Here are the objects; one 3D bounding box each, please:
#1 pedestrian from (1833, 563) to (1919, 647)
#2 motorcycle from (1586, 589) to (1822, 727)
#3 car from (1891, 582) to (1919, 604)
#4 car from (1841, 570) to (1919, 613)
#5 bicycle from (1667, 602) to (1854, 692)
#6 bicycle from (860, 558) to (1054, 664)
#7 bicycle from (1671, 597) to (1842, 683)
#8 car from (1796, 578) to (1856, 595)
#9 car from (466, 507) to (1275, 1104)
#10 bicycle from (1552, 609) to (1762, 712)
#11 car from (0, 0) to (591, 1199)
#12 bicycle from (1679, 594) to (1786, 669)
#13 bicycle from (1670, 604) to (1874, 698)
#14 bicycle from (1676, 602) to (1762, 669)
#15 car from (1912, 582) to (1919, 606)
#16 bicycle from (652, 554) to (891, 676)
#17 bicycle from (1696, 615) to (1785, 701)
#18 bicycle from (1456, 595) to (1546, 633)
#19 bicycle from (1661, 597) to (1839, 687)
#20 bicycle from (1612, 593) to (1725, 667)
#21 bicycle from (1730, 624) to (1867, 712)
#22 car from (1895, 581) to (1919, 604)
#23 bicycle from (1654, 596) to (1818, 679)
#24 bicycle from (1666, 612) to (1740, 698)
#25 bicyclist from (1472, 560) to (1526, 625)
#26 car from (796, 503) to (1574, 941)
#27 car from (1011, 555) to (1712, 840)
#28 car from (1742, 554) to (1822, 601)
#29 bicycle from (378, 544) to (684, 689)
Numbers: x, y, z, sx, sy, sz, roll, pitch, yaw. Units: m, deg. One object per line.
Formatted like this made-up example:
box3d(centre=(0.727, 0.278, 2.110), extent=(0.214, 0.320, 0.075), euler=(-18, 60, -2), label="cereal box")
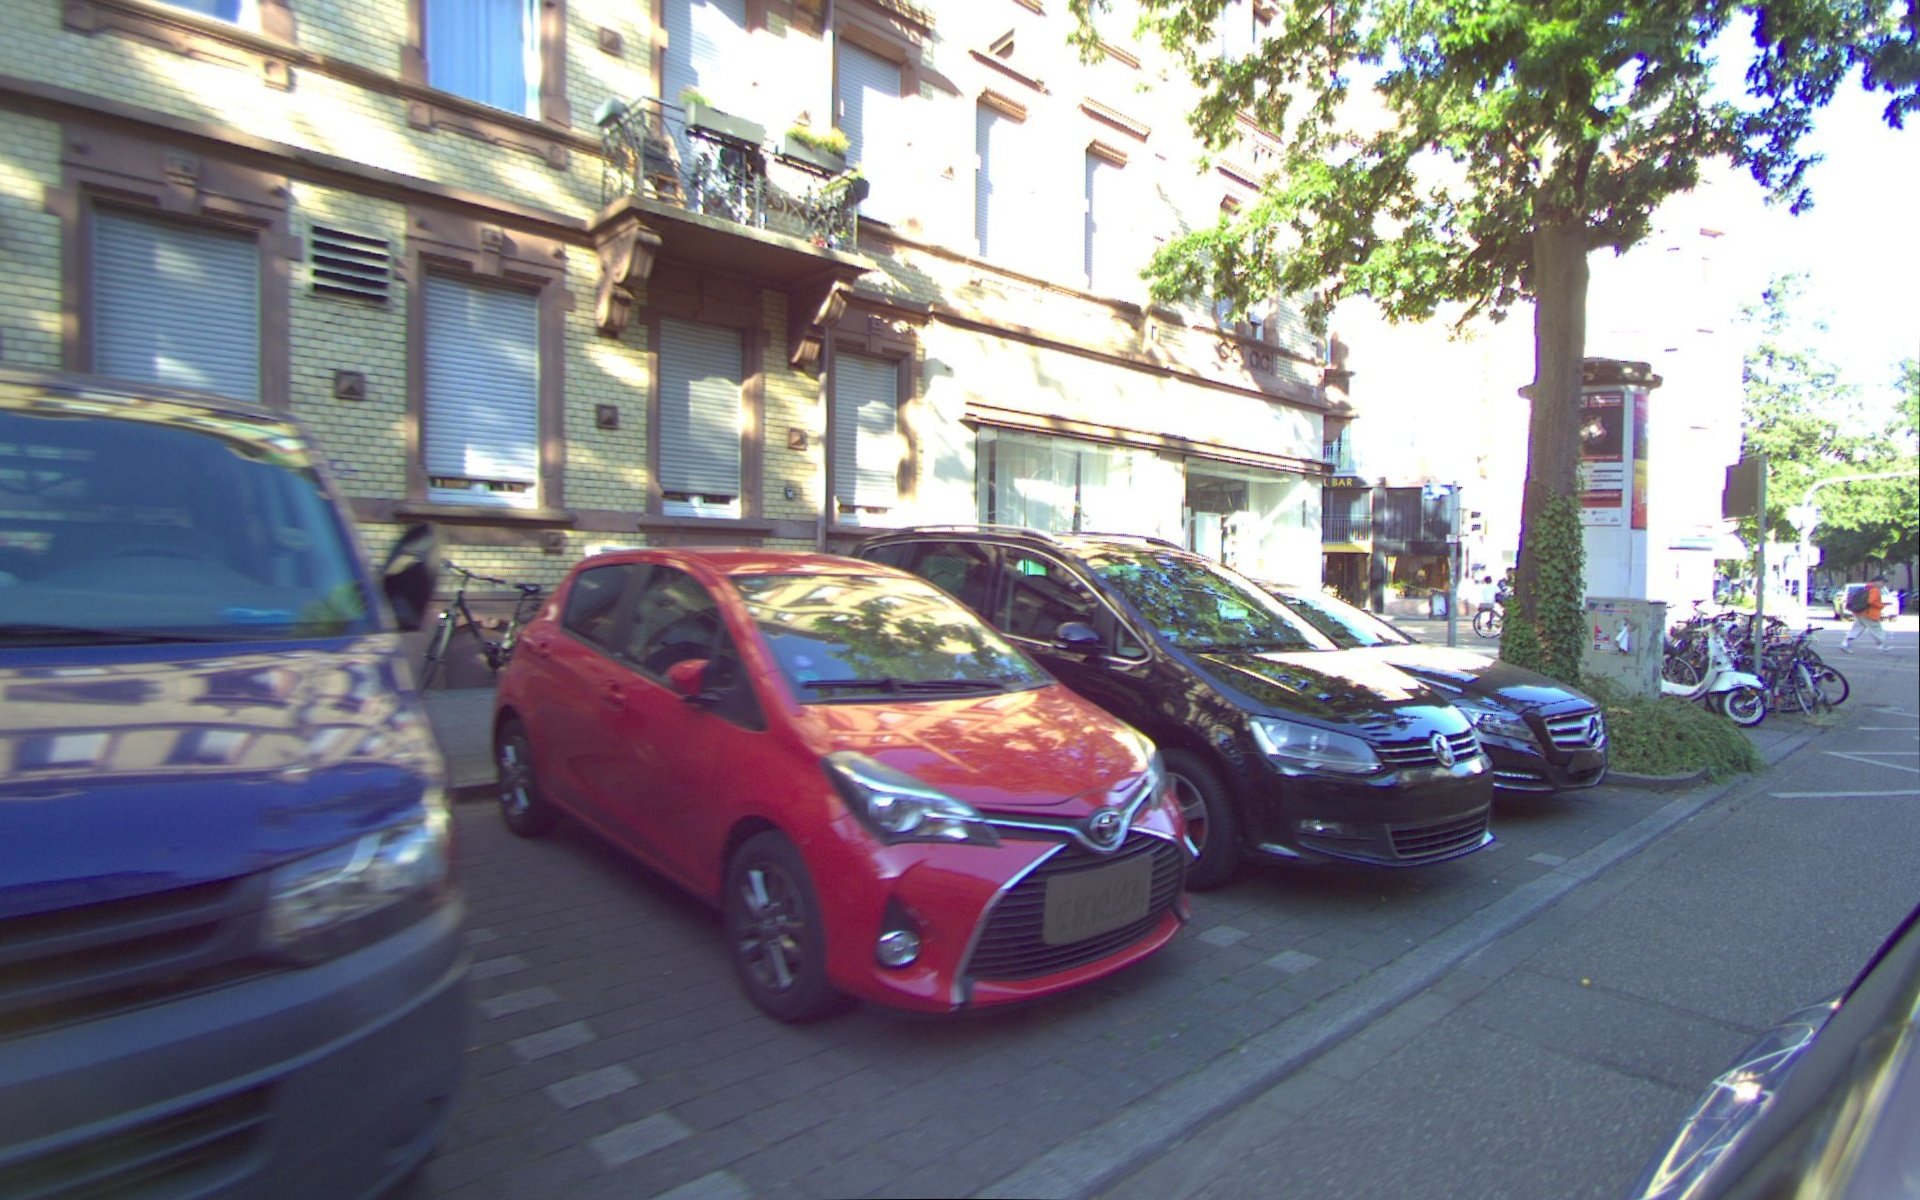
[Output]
box3d(centre=(19.168, 0.081, 21.077), extent=(1.158, 1.700, 1.002), euler=(1, 1, 19), label="pedestrian")
box3d(centre=(7.993, 0.570, 10.951), extent=(0.674, 1.248, 1.902), euler=(0, 4, -41), label="motorcycle")
box3d(centre=(71.774, -0.486, 74.563), extent=(4.268, 1.604, 1.979), euler=(2, 2, 30), label="car")
box3d(centre=(40.543, -0.409, 44.620), extent=(1.986, 1.771, 3.953), euler=(2, 2, 33), label="car")
box3d(centre=(10.882, 0.619, 13.813), extent=(1.906, 1.064, 0.501), euler=(3, 4, 12), label="bicycle")
box3d(centre=(0.013, 0.107, 12.680), extent=(2.546, 1.185, 0.672), euler=(-1, 4, -40), label="bicycle")
box3d(centre=(11.566, 0.563, 14.741), extent=(1.905, 1.106, 0.424), euler=(3, 4, 10), label="bicycle")
box3d(centre=(88.036, -1.353, 102.938), extent=(4.268, 1.604, 1.979), euler=(2, 2, 30), label="car")
box3d(centre=(-0.820, 0.464, 4.742), extent=(1.695, 1.553, 4.113), euler=(-1, 2, -41), label="car")
box3d(centre=(8.053, 0.667, 11.790), extent=(0.348, 0.938, 1.934), euler=(-1, 5, -42), label="bicycle")
box3d(centre=(-3.044, -0.012, 3.073), extent=(1.958, 2.242, 5.030), euler=(0, 2, -41), label="car")
box3d(centre=(12.158, 0.492, 15.936), extent=(1.446, 1.106, 0.426), euler=(1, 4, -12), label="bicycle")
box3d(centre=(10.422, 0.634, 13.075), extent=(1.918, 0.999, 0.492), euler=(4, 4, 27), label="bicycle")
box3d(centre=(12.537, 0.571, 16.751), extent=(0.990, 1.039, 0.732), euler=(1, 1, 27), label="bicycle")
box3d(centre=(66.917, -0.369, 67.701), extent=(4.265, 1.604, 1.981), euler=(2, 2, 28), label="car")
box3d(centre=(-2.006, 0.124, 11.077), extent=(2.546, 1.185, 0.672), euler=(-1, 4, -40), label="bicycle")
box3d(centre=(9.389, 0.675, 12.163), extent=(1.496, 0.938, 0.355), euler=(0, 4, -35), label="bicycle")
box3d(centre=(13.393, 0.339, 25.105), extent=(1.855, 0.924, 0.630), euler=(0, 0, 19), label="bicycle")
box3d(centre=(11.095, 0.577, 14.264), extent=(1.906, 1.106, 0.424), euler=(3, 4, 12), label="bicycle")
box3d(centre=(11.389, 0.476, 16.284), extent=(1.447, 1.106, 0.576), euler=(2, 4, -10), label="bicycle")
box3d(centre=(9.504, 0.768, 11.476), extent=(1.383, 0.938, 0.355), euler=(1, 4, -12), label="bicycle")
box3d(centre=(67.804, -0.485, 69.957), extent=(4.265, 1.604, 1.981), euler=(2, 2, 28), label="car")
box3d(centre=(11.653, 0.550, 15.245), extent=(1.905, 1.106, 0.424), euler=(3, 4, 10), label="bicycle")
box3d(centre=(9.220, 0.656, 12.545), extent=(1.498, 0.938, 0.354), euler=(-1, 5, -41), label="bicycle")
box3d(centre=(13.366, -0.181, 25.120), extent=(1.067, 1.573, 0.630), euler=(0, 0, 19), label="bicyclist")
box3d(centre=(0.878, 0.327, 6.350), extent=(1.817, 1.699, 4.704), euler=(0, 4, -36), label="car")
box3d(centre=(2.689, 0.437, 7.918), extent=(1.818, 1.430, 4.798), euler=(-1, 4, -39), label="car")
box3d(centre=(60.653, -1.683, 74.911), extent=(3.299, 3.218, 7.998), euler=(2, 2, 30), label="car")
box3d(centre=(-3.928, 0.114, 9.453), extent=(2.546, 1.185, 0.672), euler=(-1, 4, -40), label="bicycle")
